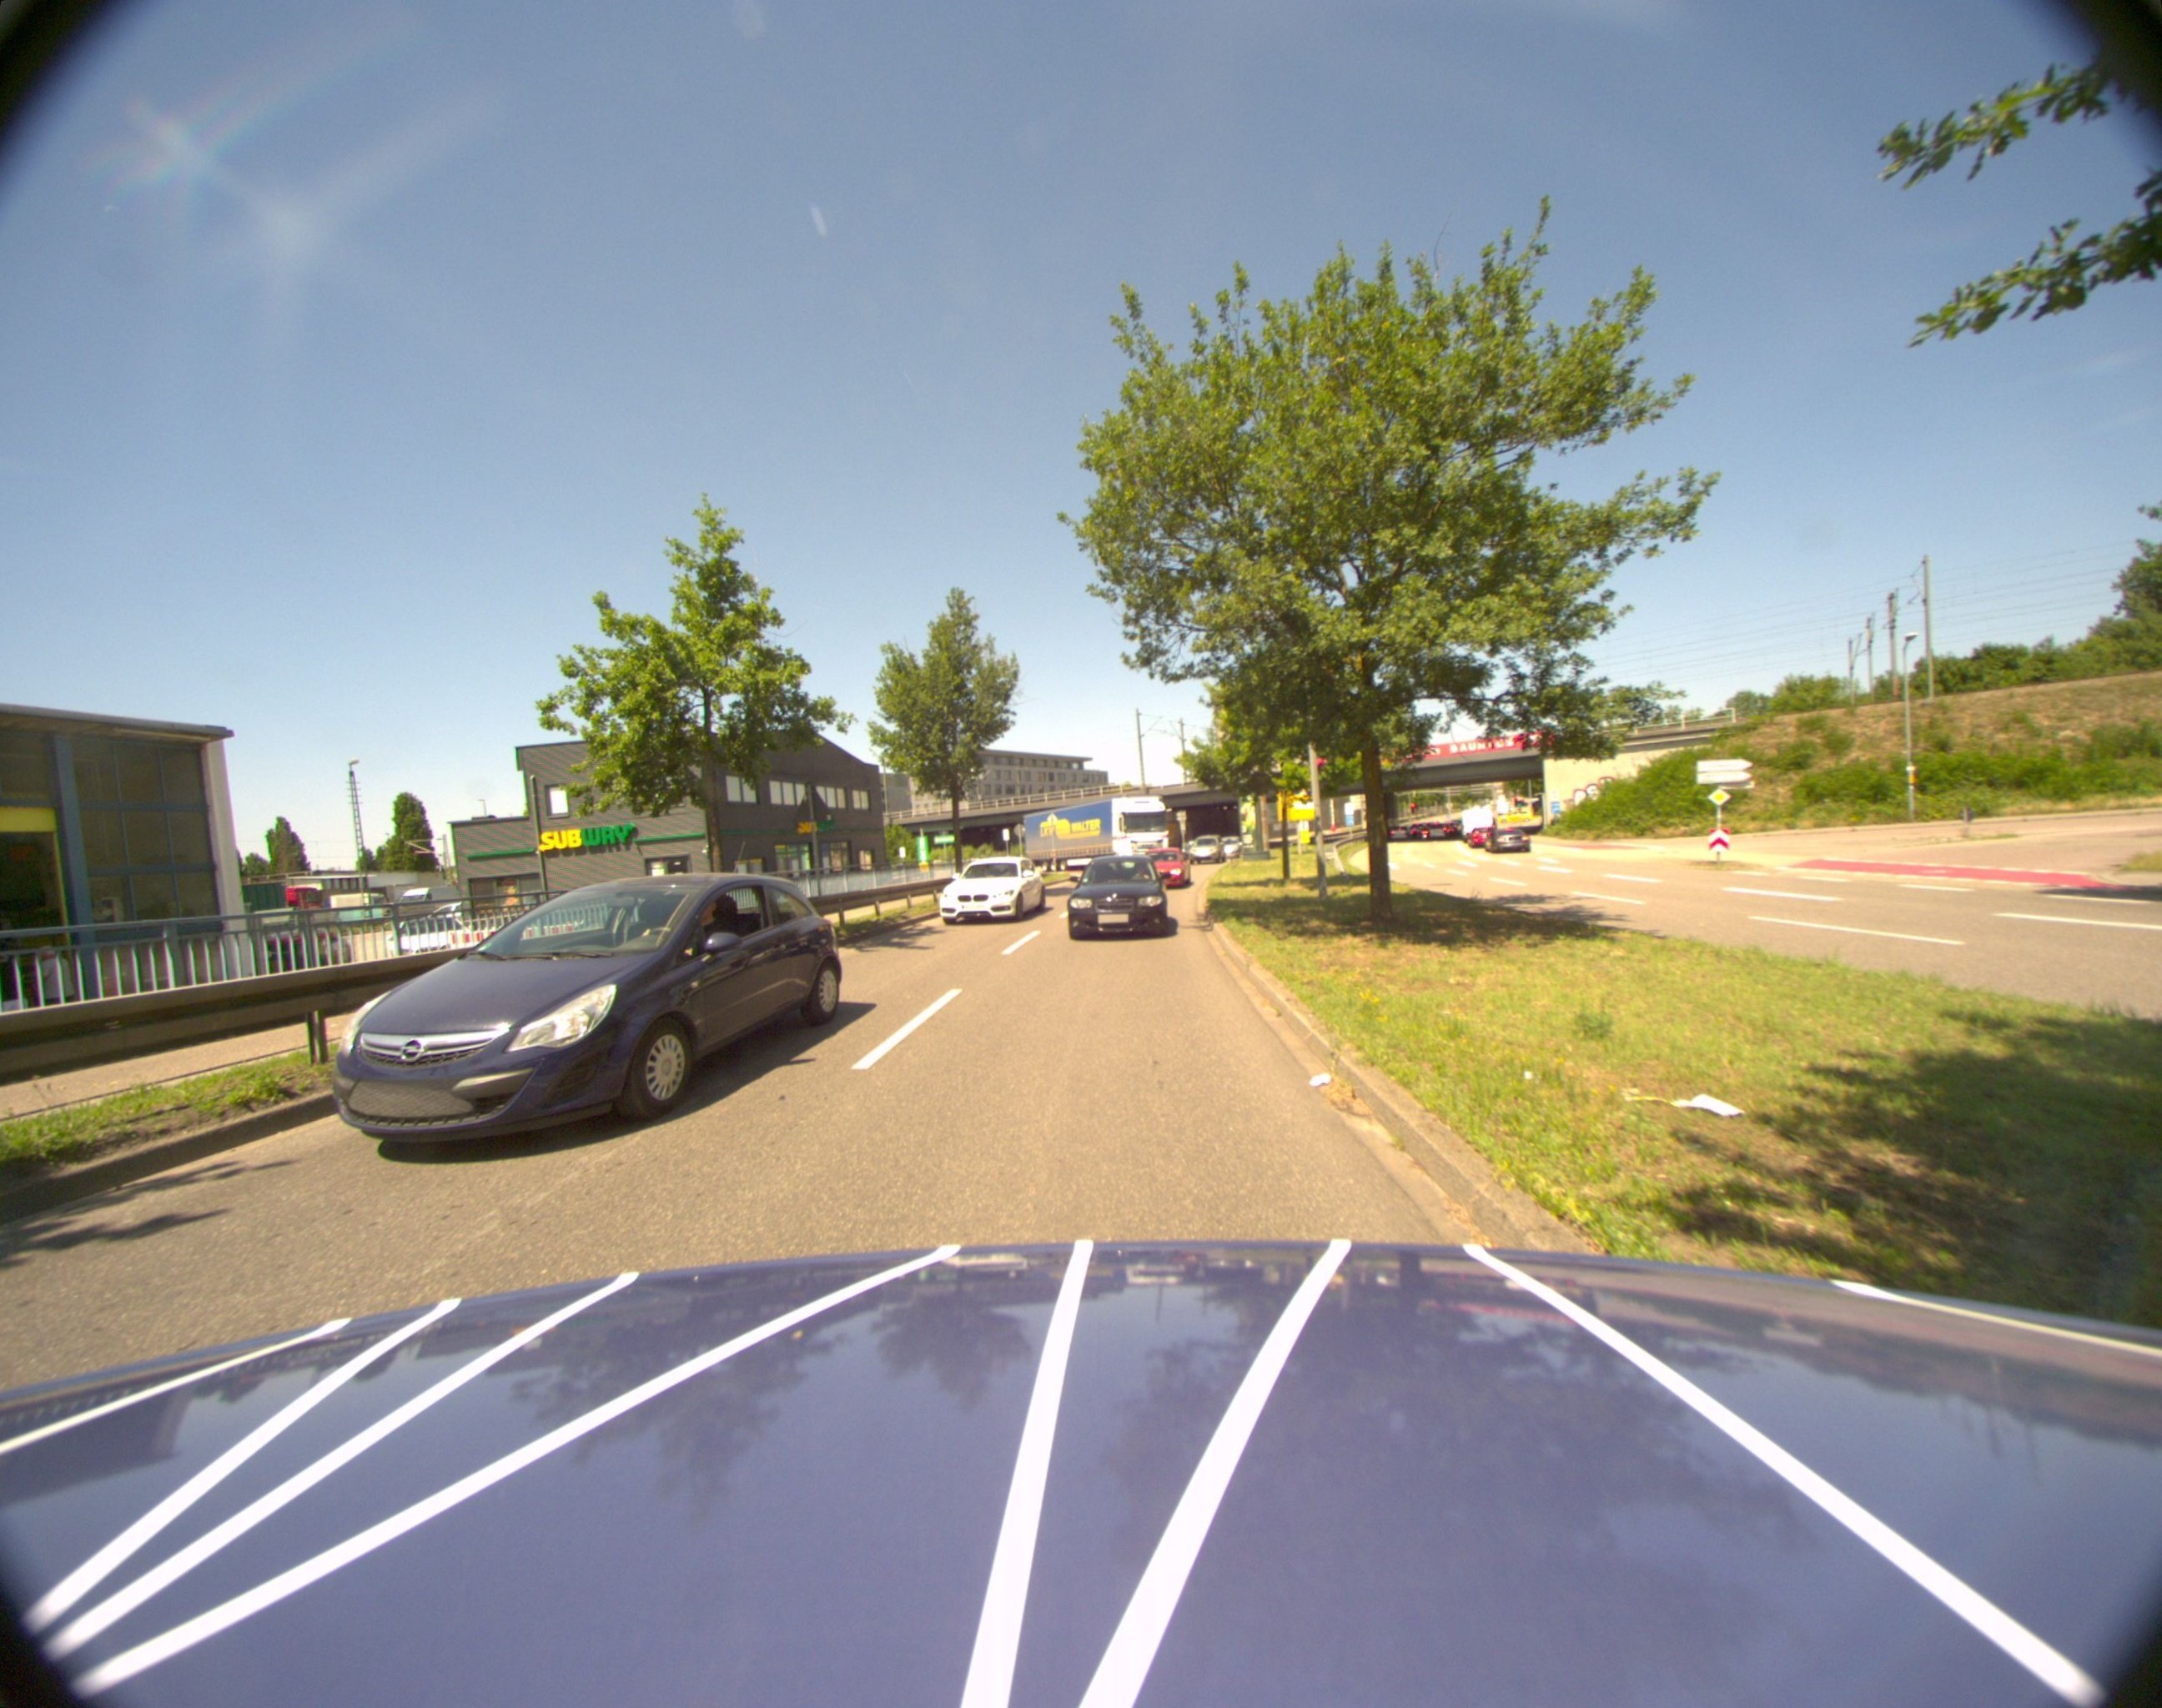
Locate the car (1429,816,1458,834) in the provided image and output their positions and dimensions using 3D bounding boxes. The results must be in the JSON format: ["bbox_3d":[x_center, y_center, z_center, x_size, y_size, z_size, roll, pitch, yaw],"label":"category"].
[{"bbox_3d":[32.643,-2.610,68.395,1.635,1.558,4.080,-1,2,35],"label":"car"}]

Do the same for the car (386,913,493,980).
[{"bbox_3d":[-18.998,2.620,22.409,2.003,1.350,5.069,-5,2,-44],"label":"car"}]

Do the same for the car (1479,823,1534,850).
[{"bbox_3d":[24.046,-1.035,43.125,1.812,1.326,4.573,-3,2,18],"label":"car"}]

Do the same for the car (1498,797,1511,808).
[{"bbox_3d":[86.274,-10.469,154.707,1.995,2.091,6.393,-2,2,33],"label":"car"}]

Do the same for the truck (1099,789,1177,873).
[{"bbox_3d":[2.972,-1.204,41.263,2.576,4.078,5.756,-4,1,-10],"label":"truck"}]

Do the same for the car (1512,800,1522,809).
[{"bbox_3d":[99.653,-11.335,173.678,1.703,2.002,4.006,-2,2,32],"label":"car"}]

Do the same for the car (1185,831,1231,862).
[{"bbox_3d":[7.970,-0.513,47.518,1.843,1.686,3.704,-3,2,24],"label":"car"}]

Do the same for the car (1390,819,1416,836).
[{"bbox_3d":[30.421,-2.519,71.674,1.635,1.395,4.228,-1,2,31],"label":"car"}]

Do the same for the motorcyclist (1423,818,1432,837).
[{"bbox_3d":[29.869,-2.273,65.495,0.587,1.617,0.563,-2,2,27],"label":"motorcyclist"}]

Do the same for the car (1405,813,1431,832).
[{"bbox_3d":[36.544,-3.442,82.357,1.903,1.849,4.006,-2,2,34],"label":"car"}]

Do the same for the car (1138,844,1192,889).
[{"bbox_3d":[3.115,0.407,27.607,1.645,1.391,4.054,-1,2,10],"label":"car"}]

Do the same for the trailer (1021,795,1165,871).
[{"bbox_3d":[0.232,-1.081,48.165,2.503,4.067,13.876,-5,1,-28],"label":"trailer"}]

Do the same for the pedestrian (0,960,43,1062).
[{"bbox_3d":[-19.030,2.768,13.435,0.522,1.693,0.488,-3,2,8],"label":"pedestrian"}]

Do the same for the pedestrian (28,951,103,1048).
[{"bbox_3d":[-19.001,2.715,14.229,0.427,1.693,0.589,-3,2,7],"label":"pedestrian"}]

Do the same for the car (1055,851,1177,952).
[{"bbox_3d":[0.807,0.770,14.195,1.680,1.409,4.058,-3,2,10],"label":"car"}]

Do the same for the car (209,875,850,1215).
[{"bbox_3d":[-3.296,1.001,5.646,1.650,1.436,3.891,-3,1,4],"label":"car"}]

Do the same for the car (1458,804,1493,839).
[{"bbox_3d":[31.041,-2.504,59.909,2.096,2.486,5.818,-2,0,25],"label":"car"}]

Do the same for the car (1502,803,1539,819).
[{"bbox_3d":[60.714,-5.965,105.052,4.309,1.849,1.875,-3,2,29],"label":"car"}]

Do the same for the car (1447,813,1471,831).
[{"bbox_3d":[43.206,-3.662,86.856,1.903,1.849,4.006,-2,2,34],"label":"car"}]

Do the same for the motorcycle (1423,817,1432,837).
[{"bbox_3d":[29.909,-2.318,65.580,0.598,1.669,2.428,-2,2,27],"label":"motorcycle"}]

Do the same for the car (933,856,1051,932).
[{"bbox_3d":[-1.990,0.870,18.211,1.761,1.435,4.054,-1,2,8],"label":"car"}]

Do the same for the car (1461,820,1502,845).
[{"bbox_3d":[26.722,-1.463,50.799,1.833,1.429,4.530,-3,2,21],"label":"car"}]

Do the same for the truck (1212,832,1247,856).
[{"bbox_3d":[10.724,-0.750,54.712,1.728,1.493,4.004,-3,2,21],"label":"truck"}]

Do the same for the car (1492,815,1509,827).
[{"bbox_3d":[46.613,-3.644,84.369,1.183,1.241,2.697,-2,2,38],"label":"car"}]
